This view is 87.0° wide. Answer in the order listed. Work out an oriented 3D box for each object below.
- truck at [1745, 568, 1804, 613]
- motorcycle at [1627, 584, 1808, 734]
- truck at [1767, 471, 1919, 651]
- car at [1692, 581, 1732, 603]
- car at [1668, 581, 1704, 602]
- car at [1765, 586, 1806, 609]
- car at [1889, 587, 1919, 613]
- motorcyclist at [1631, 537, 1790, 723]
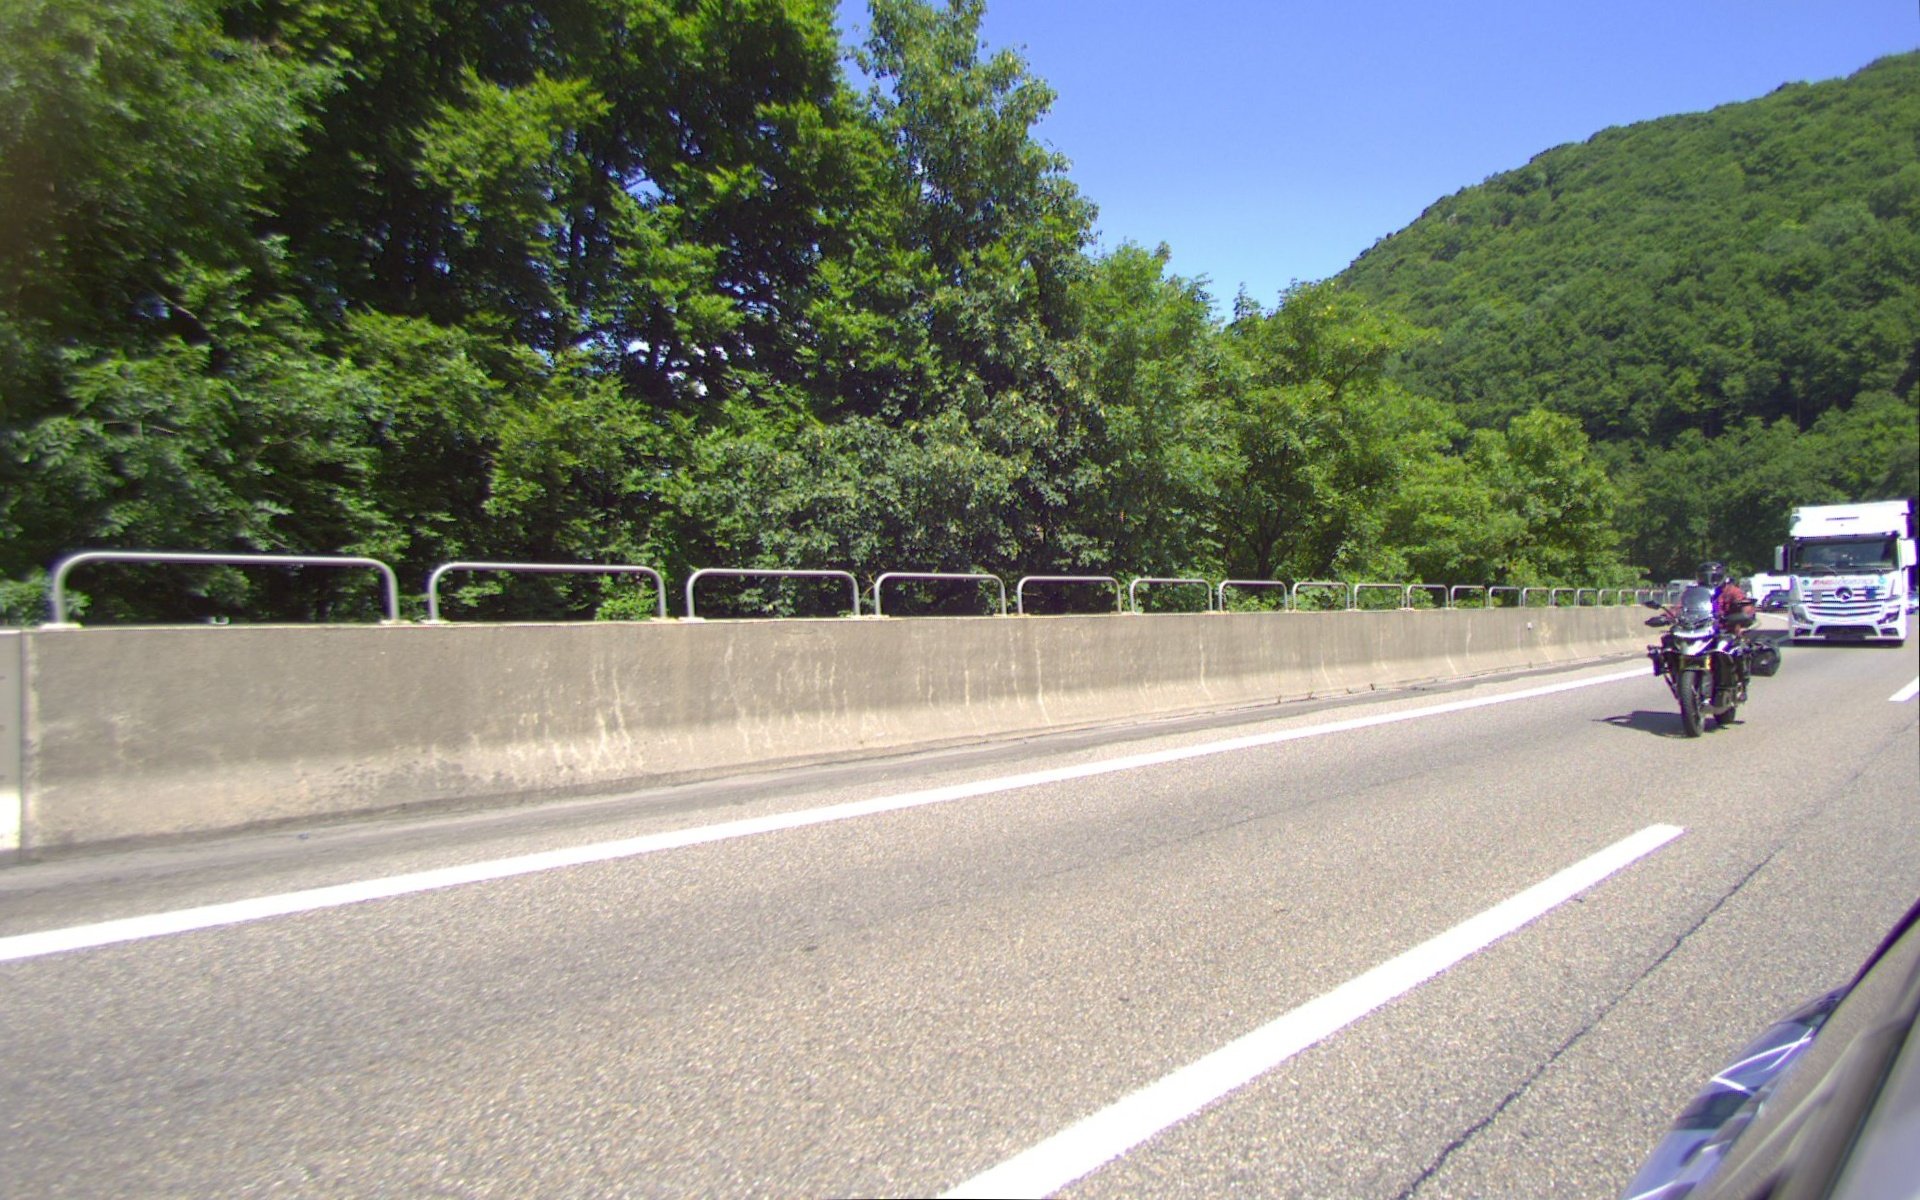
[{"bbox_3d":[60.001,-0.688,74.659,2.599,3.141,6.774,-1,0,33],"label":"truck"},{"bbox_3d":[8.192,0.589,10.889,2.633,1.438,0.974,1,-2,-40],"label":"motorcycle"},{"bbox_3d":[27.121,-0.947,30.470,2.960,4.185,16.444,-1,-1,43],"label":"truck"},{"bbox_3d":[72.100,-0.780,97.064,1.975,2.039,3.973,1,1,20],"label":"car"},{"bbox_3d":[75.282,-0.887,104.959,1.975,2.039,3.974,1,1,20],"label":"car"},{"bbox_3d":[57.101,-0.187,70.064,1.744,1.507,3.935,1,1,33],"label":"car"},{"bbox_3d":[57.558,-0.025,61.009,1.745,1.507,3.932,1,1,35],"label":"car"},{"bbox_3d":[7.974,0.302,10.751,1.314,1.823,1.063,1,-2,-39],"label":"motorcyclist"}]
